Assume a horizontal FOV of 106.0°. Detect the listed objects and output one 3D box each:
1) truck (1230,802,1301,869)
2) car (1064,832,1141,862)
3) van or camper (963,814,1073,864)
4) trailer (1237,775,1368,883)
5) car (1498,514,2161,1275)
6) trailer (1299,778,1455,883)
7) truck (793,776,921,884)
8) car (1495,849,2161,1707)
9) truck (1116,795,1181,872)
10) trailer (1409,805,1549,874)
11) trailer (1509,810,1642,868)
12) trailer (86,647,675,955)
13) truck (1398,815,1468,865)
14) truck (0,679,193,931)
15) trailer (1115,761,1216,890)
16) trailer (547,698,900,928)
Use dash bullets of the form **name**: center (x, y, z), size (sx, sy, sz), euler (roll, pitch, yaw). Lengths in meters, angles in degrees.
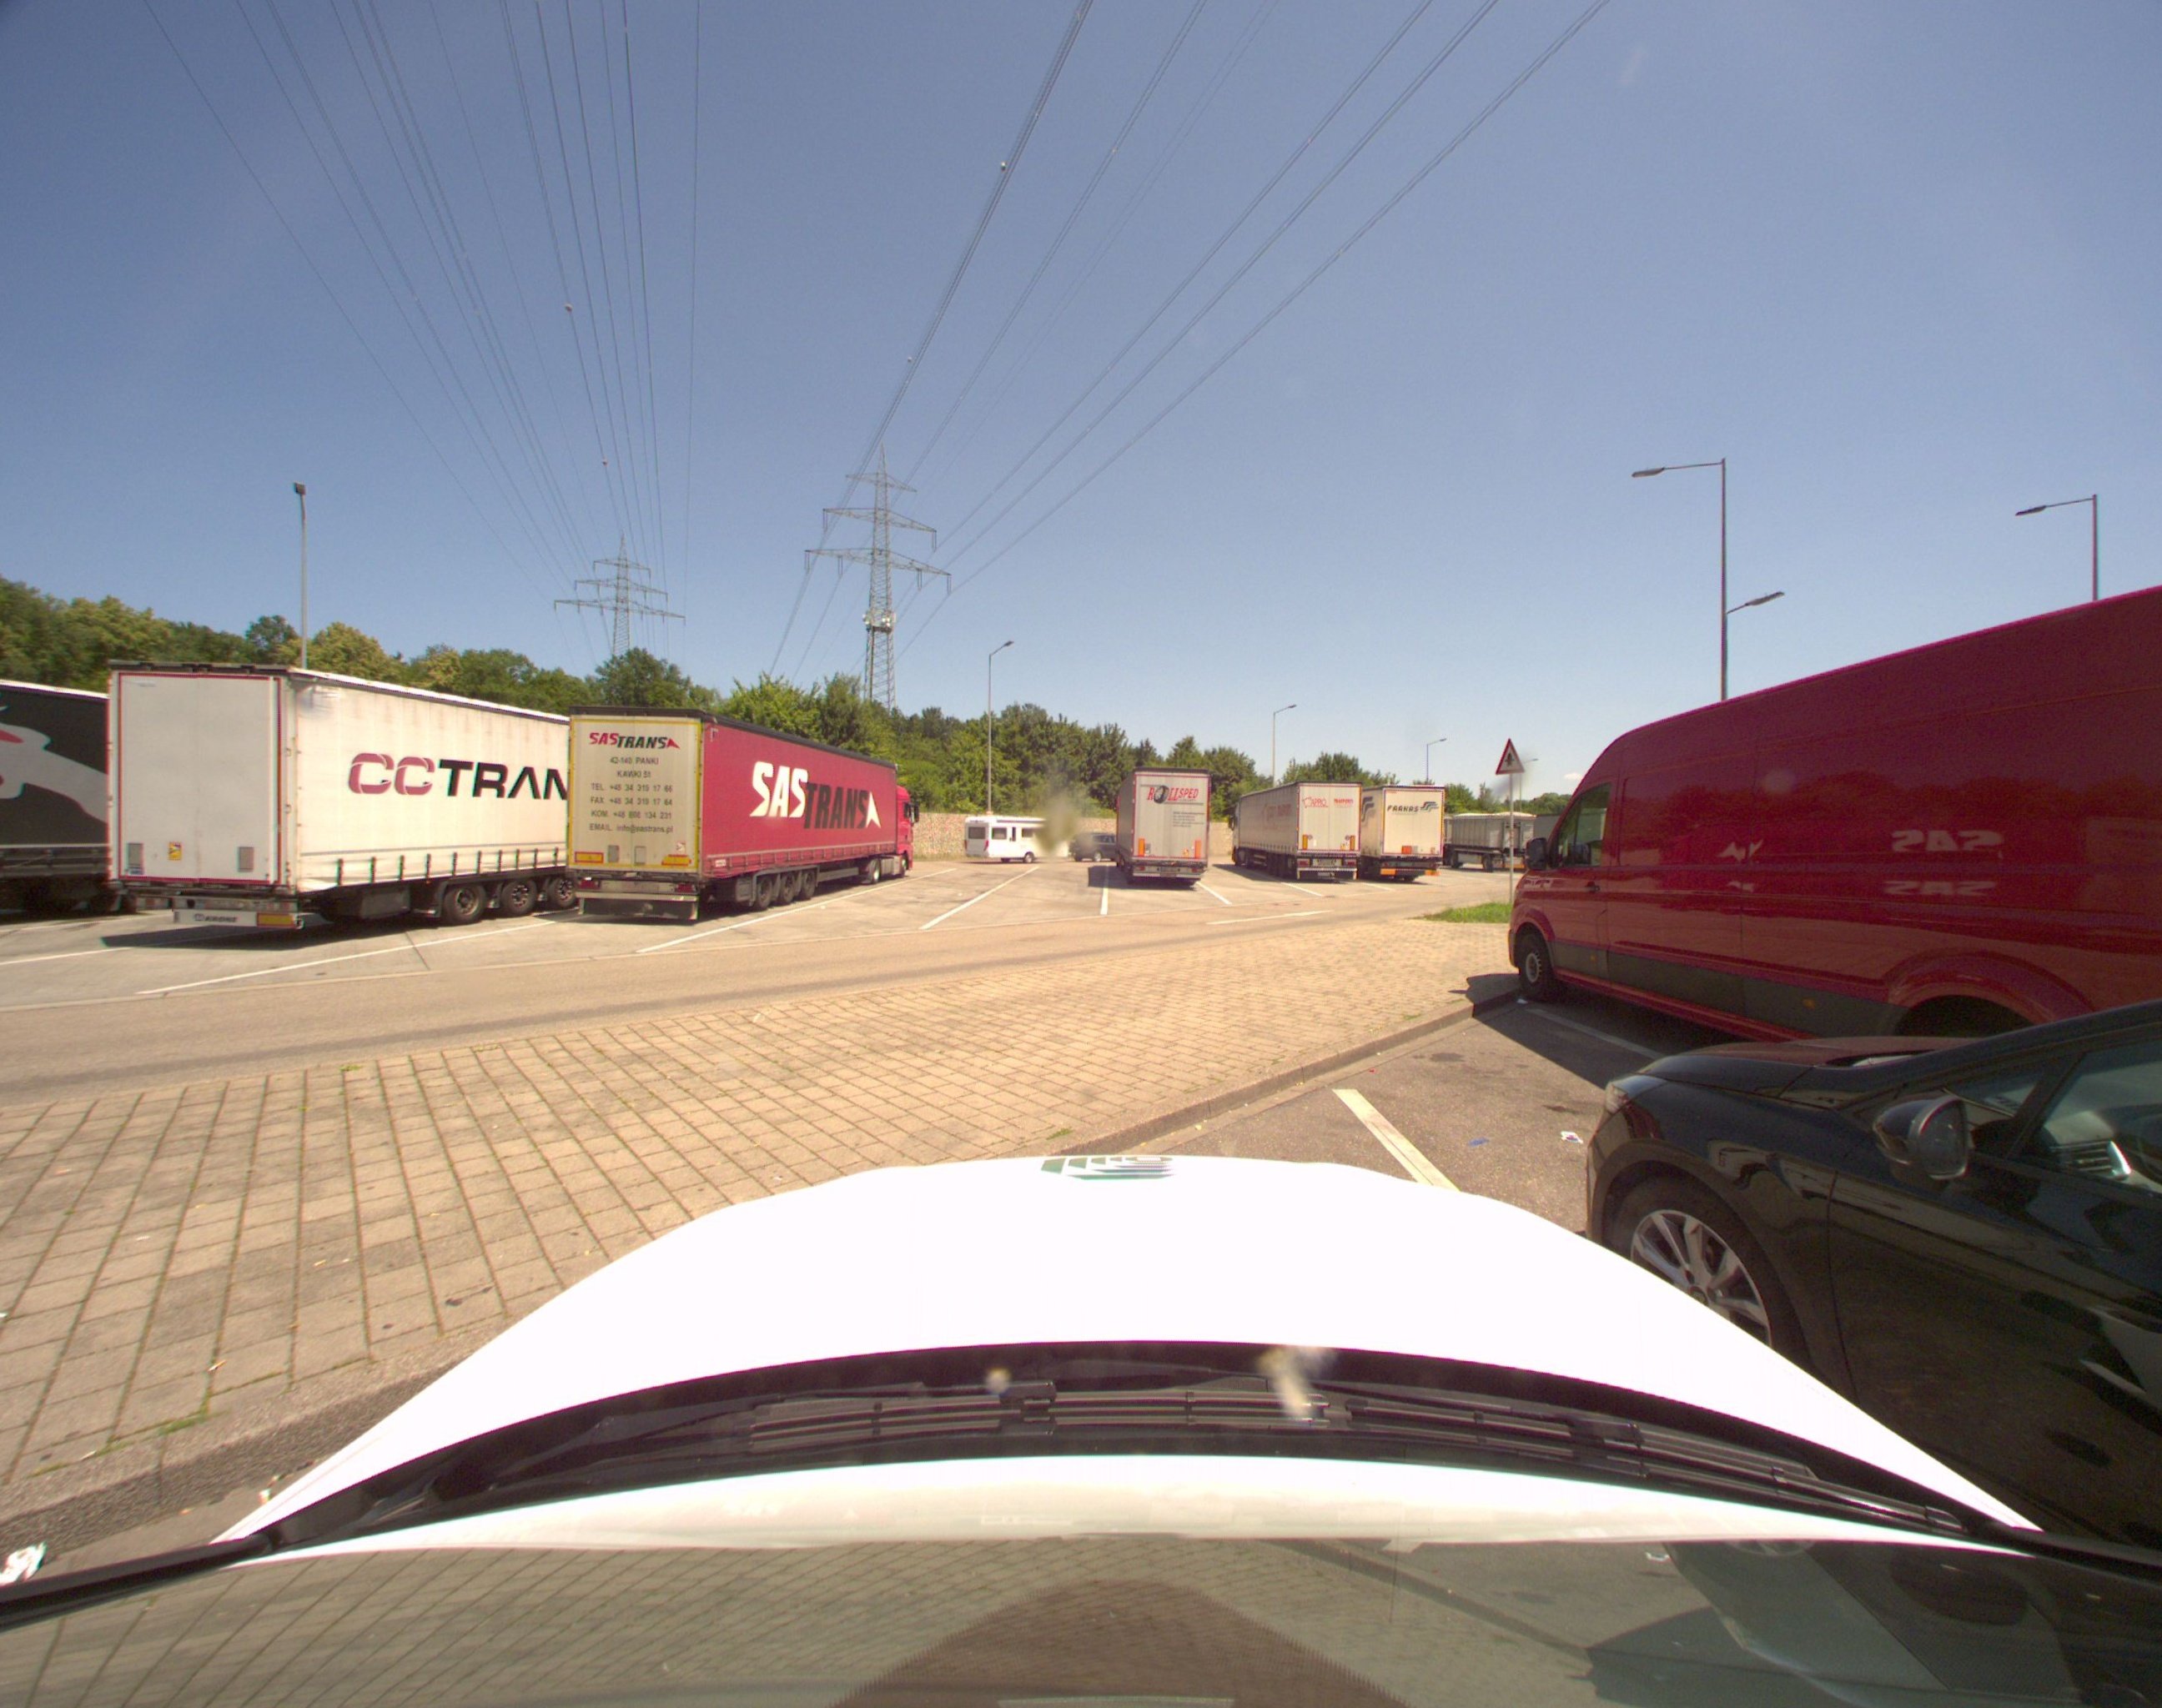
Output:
- **truck**: center (10.171, -1.039, 45.437), size (2.841, 3.483, 5.486), euler (1, 1, 2)
- **car**: center (1.320, -0.412, 48.762), size (4.535, 1.708, 1.766), euler (0, 3, -40)
- **van or camper**: center (-3.382, -0.830, 44.635), size (5.880, 2.564, 2.245), euler (0, 2, -42)
- **trailer**: center (9.961, -1.161, 38.626), size (2.828, 4.132, 13.730), euler (1, 2, 2)
- **car**: center (5.159, 0.093, 5.494), size (2.055, 2.695, 6.405), euler (-1, 1, 6)
- **trailer**: center (13.618, -1.123, 39.288), size (2.828, 4.132, 13.730), euler (1, 2, 2)
- **truck**: center (-7.797, -0.857, 29.100), size (2.841, 3.427, 5.486), euler (1, 1, 2)
- **car**: center (2.514, 0.760, 1.184), size (1.733, 1.482, 3.813), euler (-1, 1, -3)
- **truck**: center (3.175, -1.004, 39.913), size (2.841, 3.483, 5.486), euler (1, 1, 2)
- **trailer**: center (24.540, -0.998, 51.453), size (2.826, 3.717, 13.737), euler (1, 2, 3)
- **trailer**: center (38.386, -1.225, 64.134), size (2.826, 4.049, 13.737), euler (1, 2, 3)
- **trailer**: center (-12.203, -0.909, 16.336), size (2.718, 4.209, 10.176), euler (1, 2, 2)
- **truck**: center (24.931, -1.010, 57.951), size (2.840, 3.364, 5.488), euler (1, 2, 3)
- **truck**: center (-18.579, -0.827, 13.573), size (2.692, 4.016, 4.327), euler (1, 2, 2)
- **trailer**: center (3.029, -1.114, 33.300), size (2.896, 4.132, 13.727), euler (1, 2, 1)
- **trailer**: center (-8.037, -0.972, 21.664), size (2.896, 4.131, 13.731), euler (1, 2, 2)
